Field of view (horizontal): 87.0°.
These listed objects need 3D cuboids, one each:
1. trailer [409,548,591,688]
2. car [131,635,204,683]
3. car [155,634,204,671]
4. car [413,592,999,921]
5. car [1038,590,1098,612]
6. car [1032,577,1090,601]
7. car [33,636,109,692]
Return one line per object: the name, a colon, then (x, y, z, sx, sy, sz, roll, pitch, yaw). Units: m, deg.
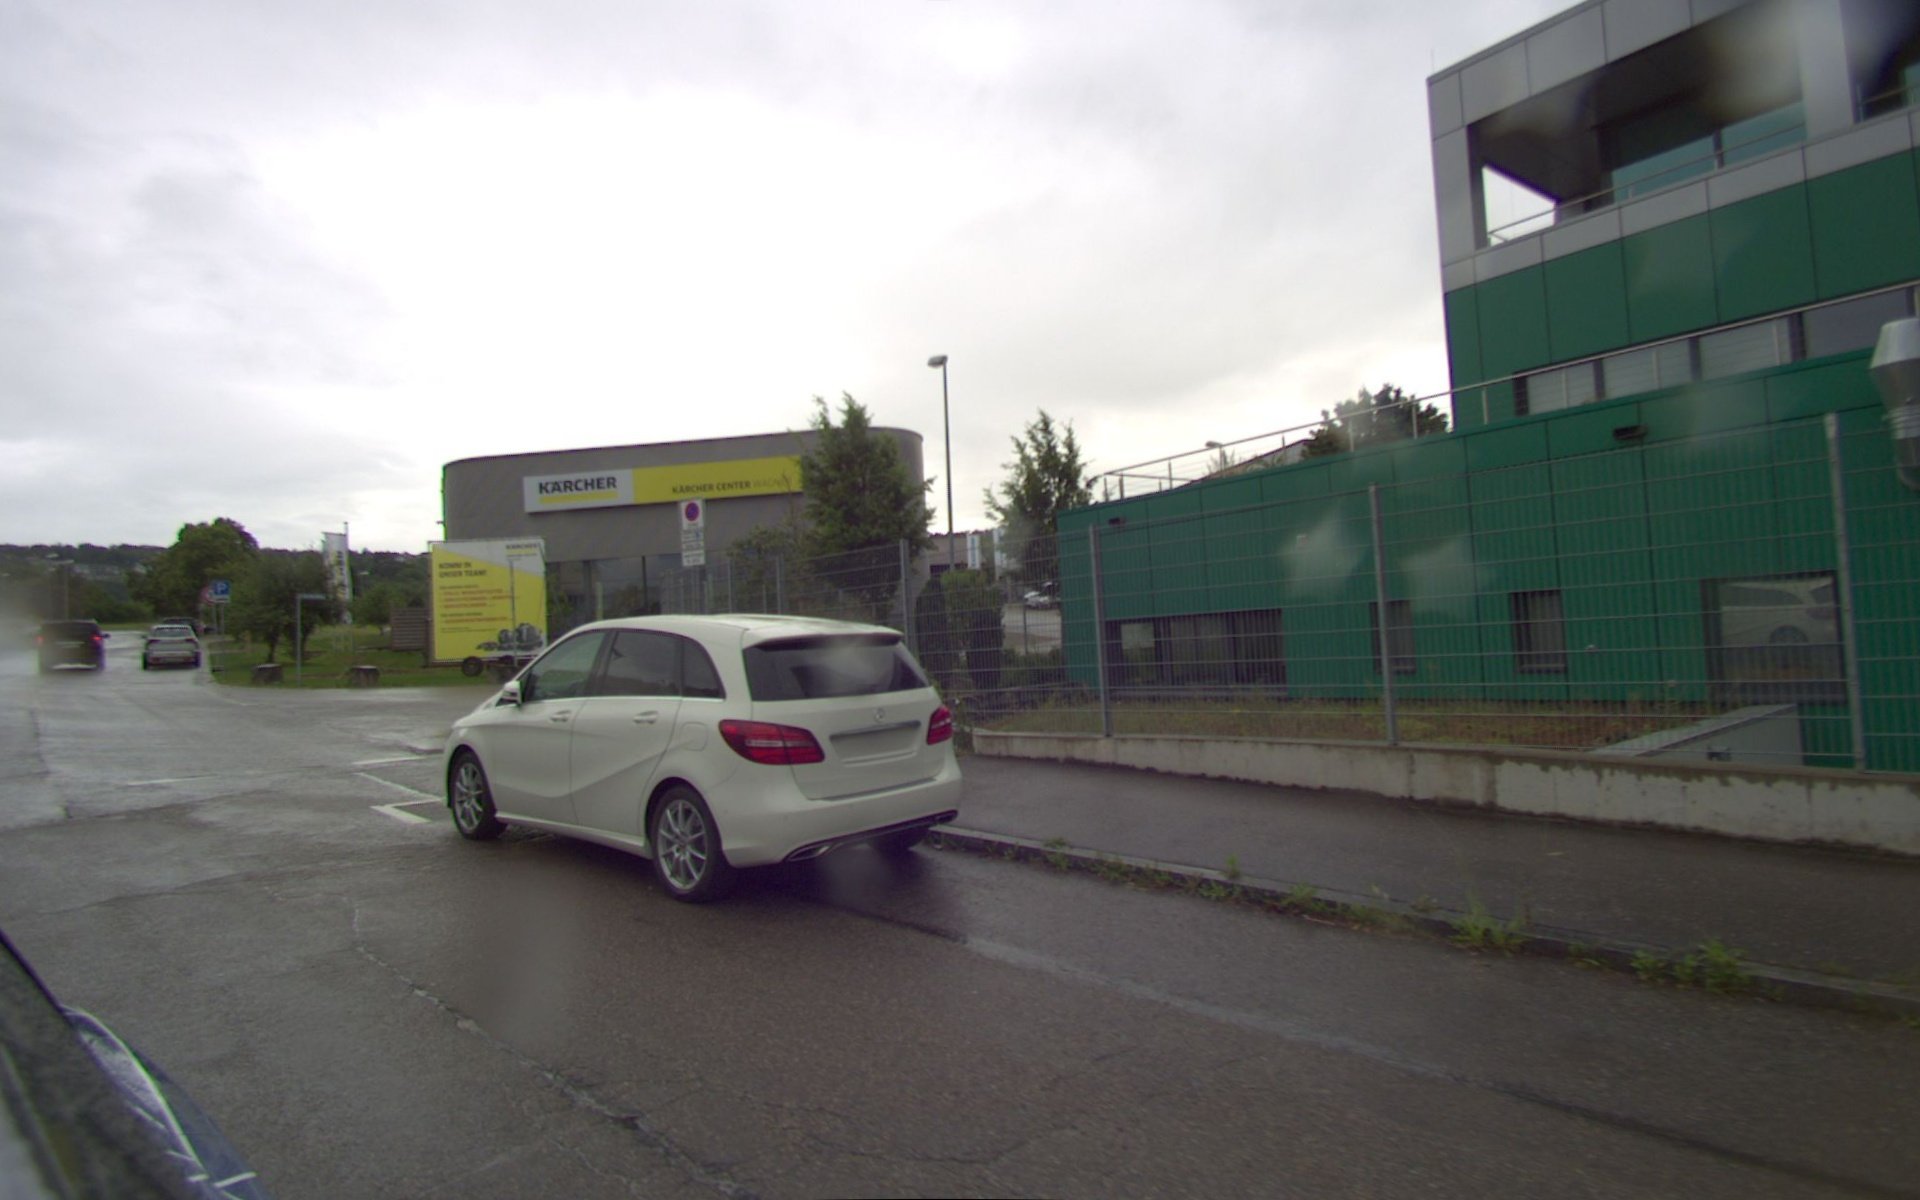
trailer: (-14.282, 0.565, 31.651, 4.633, 4.120, 2.389, -1, -1, 0)
car: (-33.698, 2.484, 42.993, 1.970, 1.928, 4.002, 1, -3, -44)
car: (-46.046, 3.066, 59.775, 1.966, 2.029, 4.011, 0, -2, -33)
car: (-1.934, 0.794, 6.825, 4.248, 1.547, 1.717, -2, -1, 41)
car: (7.904, 0.081, 74.242, 3.933, 1.541, 2.005, -1, -1, -13)
car: (7.646, -0.819, 76.692, 3.933, 1.763, 2.005, -1, -1, -13)
car: (-34.671, 2.462, 39.437, 2.038, 2.029, 4.515, 1, -3, -43)
